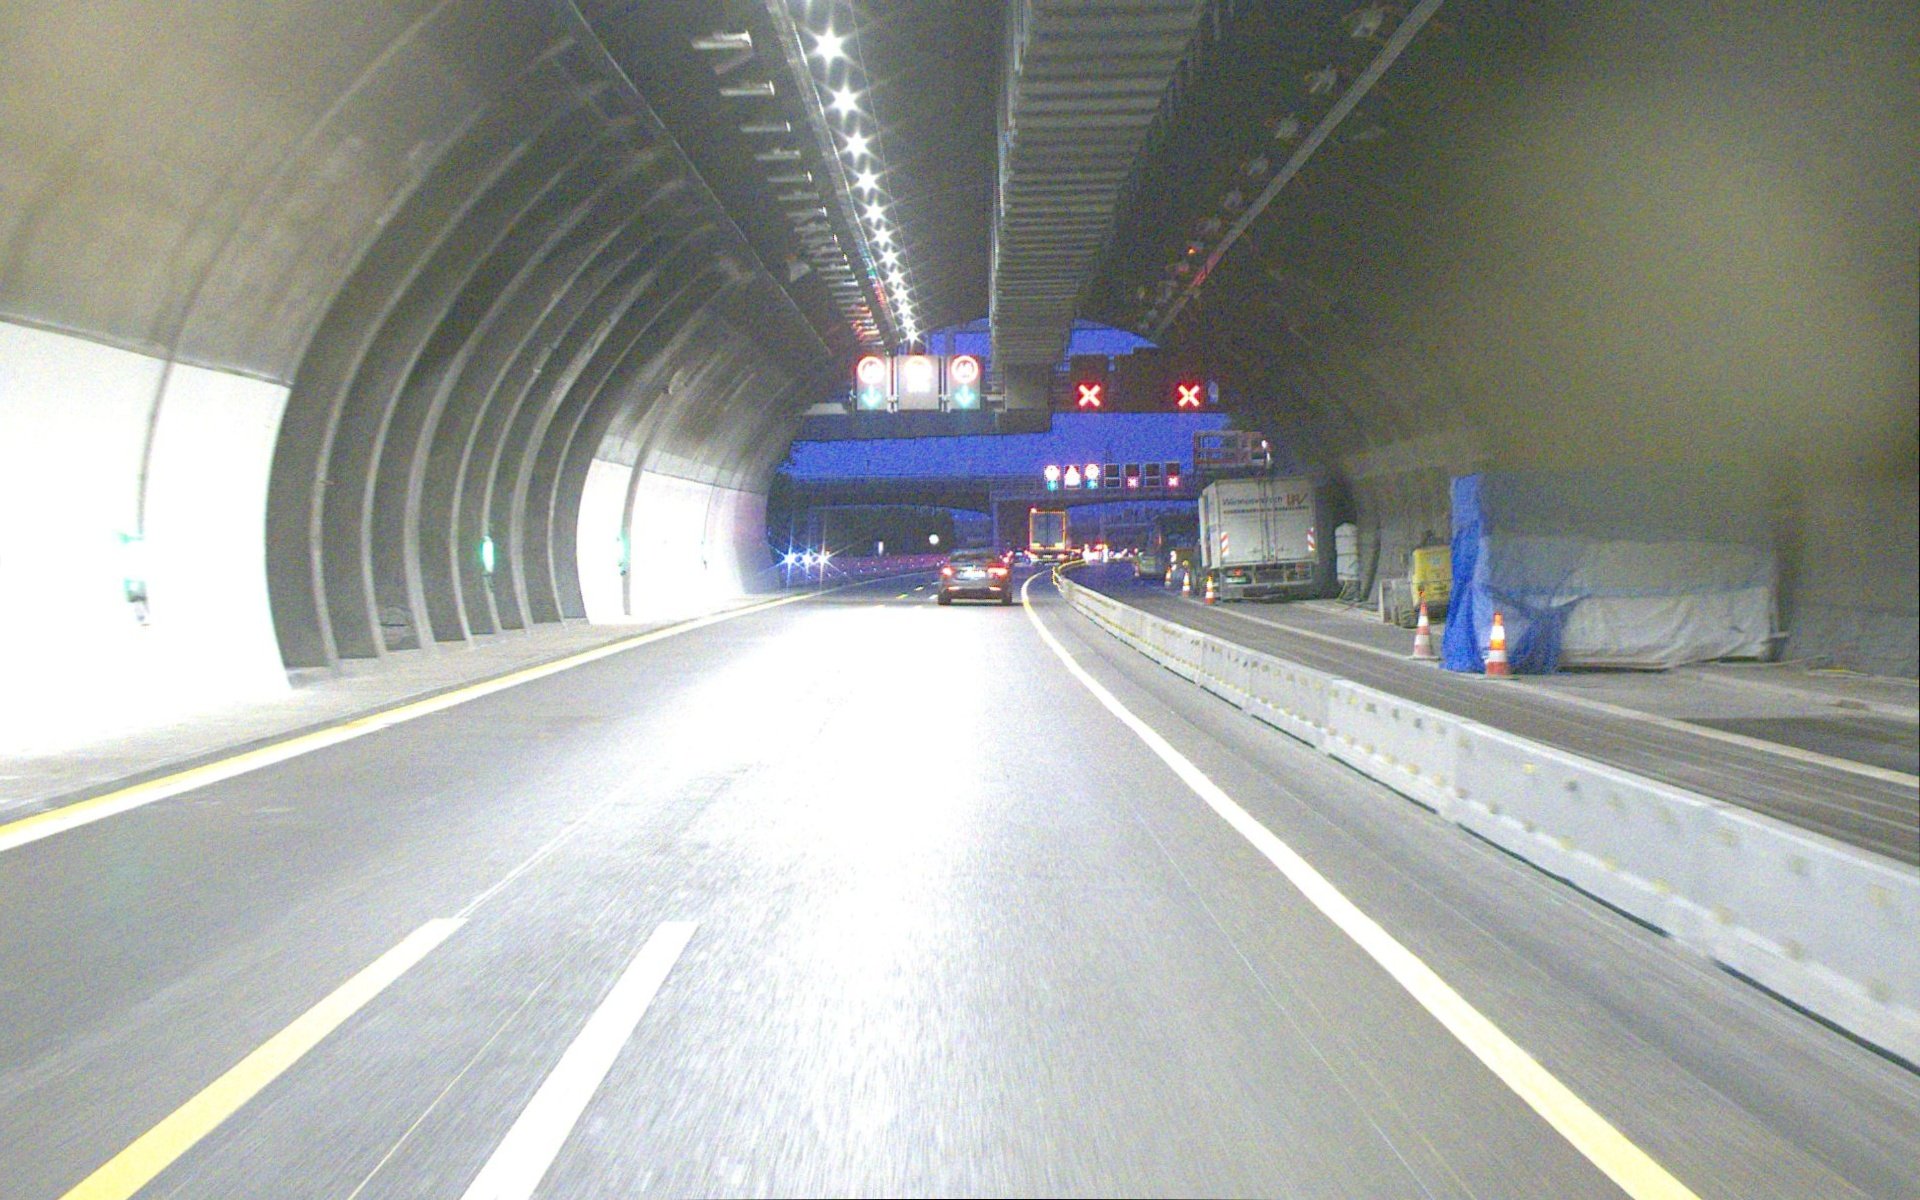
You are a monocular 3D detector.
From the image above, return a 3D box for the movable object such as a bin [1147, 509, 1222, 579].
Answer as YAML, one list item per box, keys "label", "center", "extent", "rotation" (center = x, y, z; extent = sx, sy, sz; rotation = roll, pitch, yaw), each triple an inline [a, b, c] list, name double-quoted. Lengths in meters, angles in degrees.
- label: "movable object such as a bin"
  center: [9.006, -2.238, 138.347]
  extent: [2.737, 2.744, 7.049]
  rotation: [0, 1, 2]

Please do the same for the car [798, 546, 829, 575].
- label: "car"
  center: [-10.334, -2.774, 243.446]
  extent: [1.993, 2.007, 4.000]
  rotation: [0, 1, 0]

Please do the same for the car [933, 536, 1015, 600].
- label: "car"
  center: [0.325, -0.822, 87.688]
  extent: [1.887, 1.601, 4.000]
  rotation: [0, 1, -3]

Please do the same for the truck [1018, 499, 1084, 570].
- label: "truck"
  center: [6.526, -4.691, 246.455]
  extent: [4.546, 4.970, 9.599]
  rotation: [0, 1, 2]

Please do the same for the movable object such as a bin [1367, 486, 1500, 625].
- label: "movable object such as a bin"
  center: [8.692, -0.816, 63.359]
  extent: [1.756, 2.372, 4.000]
  rotation: [-3, 1, 0]

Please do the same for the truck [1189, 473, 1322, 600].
- label: "truck"
  center: [7.860, -1.676, 92.483]
  extent: [2.892, 3.261, 8.401]
  rotation: [0, 1, 0]

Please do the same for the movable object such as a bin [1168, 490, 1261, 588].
- label: "movable object such as a bin"
  center: [7.486, -1.783, 101.735]
  extent: [2.238, 2.784, 7.233]
  rotation: [0, 1, 0]

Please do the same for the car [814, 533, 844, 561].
- label: "car"
  center: [-9.526, -3.839, 250.354]
  extent: [1.993, 2.007, 4.000]
  rotation: [0, 1, 0]

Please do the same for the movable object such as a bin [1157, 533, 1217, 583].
- label: "movable object such as a bin"
  center: [8.280, -1.531, 125.663]
  extent: [1.978, 1.809, 3.836]
  rotation: [0, 1, 0]

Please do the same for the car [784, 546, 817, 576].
- label: "car"
  center: [-10.834, -2.655, 233.358]
  extent: [1.993, 2.007, 4.000]
  rotation: [0, 1, 0]

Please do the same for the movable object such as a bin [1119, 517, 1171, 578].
- label: "movable object such as a bin"
  center: [10.572, -2.990, 196.879]
  extent: [2.737, 3.443, 6.946]
  rotation: [0, 1, 2]
